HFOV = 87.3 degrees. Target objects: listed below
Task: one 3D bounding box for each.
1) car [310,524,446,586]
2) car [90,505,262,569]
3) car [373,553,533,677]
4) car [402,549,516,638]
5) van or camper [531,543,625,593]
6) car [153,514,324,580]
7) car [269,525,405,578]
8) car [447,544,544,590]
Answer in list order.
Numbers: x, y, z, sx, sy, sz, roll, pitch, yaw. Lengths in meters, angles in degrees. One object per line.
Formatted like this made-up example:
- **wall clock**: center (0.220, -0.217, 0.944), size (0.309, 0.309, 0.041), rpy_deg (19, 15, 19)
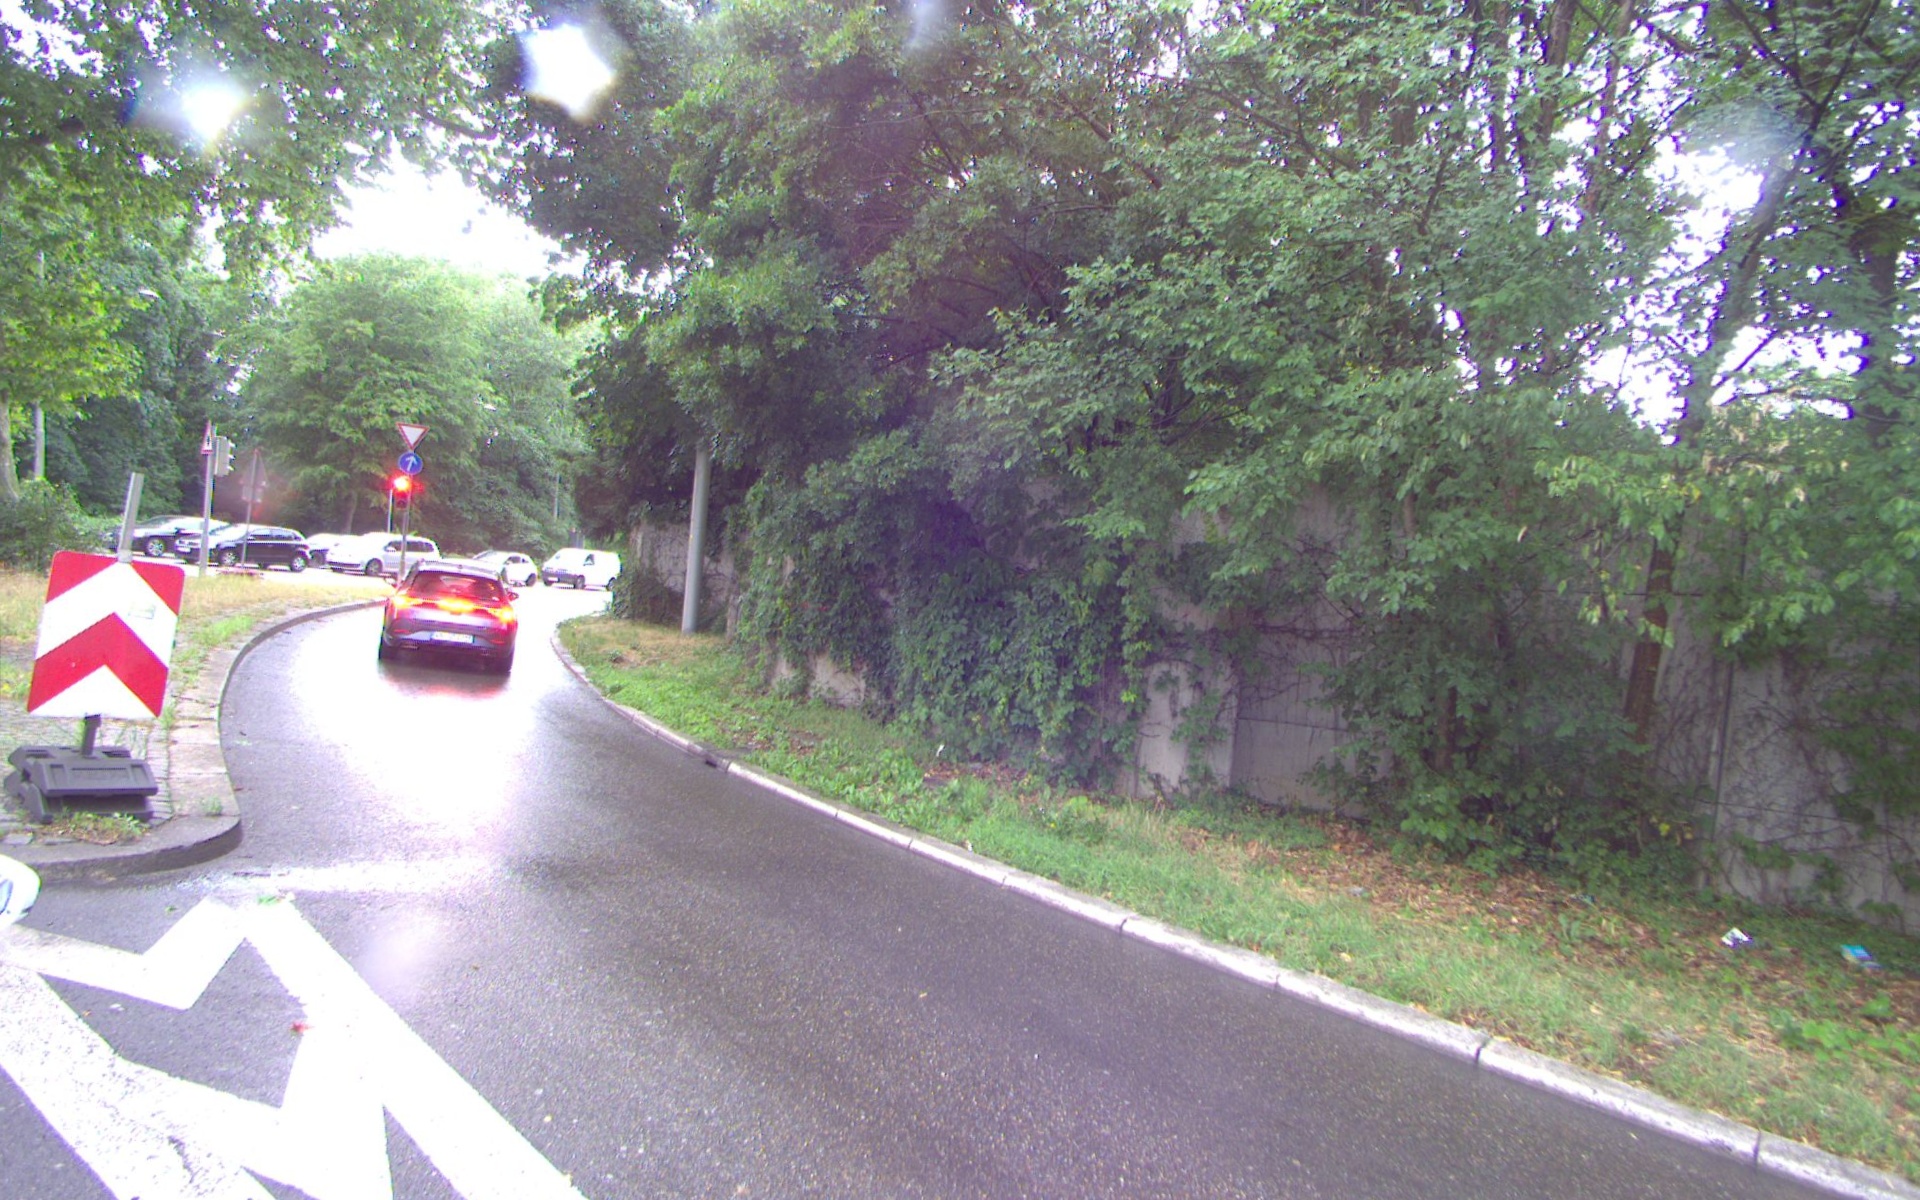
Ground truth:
- **car**: center (-22.088, -1.651, 38.355), size (1.871, 1.699, 4.216), rpy_deg (7, -2, 16)
- **car**: center (-26.652, -2.105, 34.403), size (1.913, 1.457, 4.218), rpy_deg (7, -2, 16)
- **car**: center (-7.806, 0.145, 15.404), size (1.736, 1.418, 4.382), rpy_deg (10, -3, -29)
- **car**: center (-10.962, -0.181, 22.288), size (1.837, 1.464, 4.593), rpy_deg (11, -3, -24)
- **van or camper**: center (-19.140, -1.560, 50.686), size (1.870, 1.970, 4.870), rpy_deg (7, -1, 12)
- **car**: center (-23.329, -1.668, 32.740), size (1.759, 1.477, 4.205), rpy_deg (7, -2, 16)
- **car**: center (-24.819, -1.880, 40.257), size (1.795, 1.418, 4.452), rpy_deg (7, -2, 16)
- **car**: center (-20.555, -1.424, 44.698), size (1.627, 1.478, 3.869), rpy_deg (7, -2, 16)
